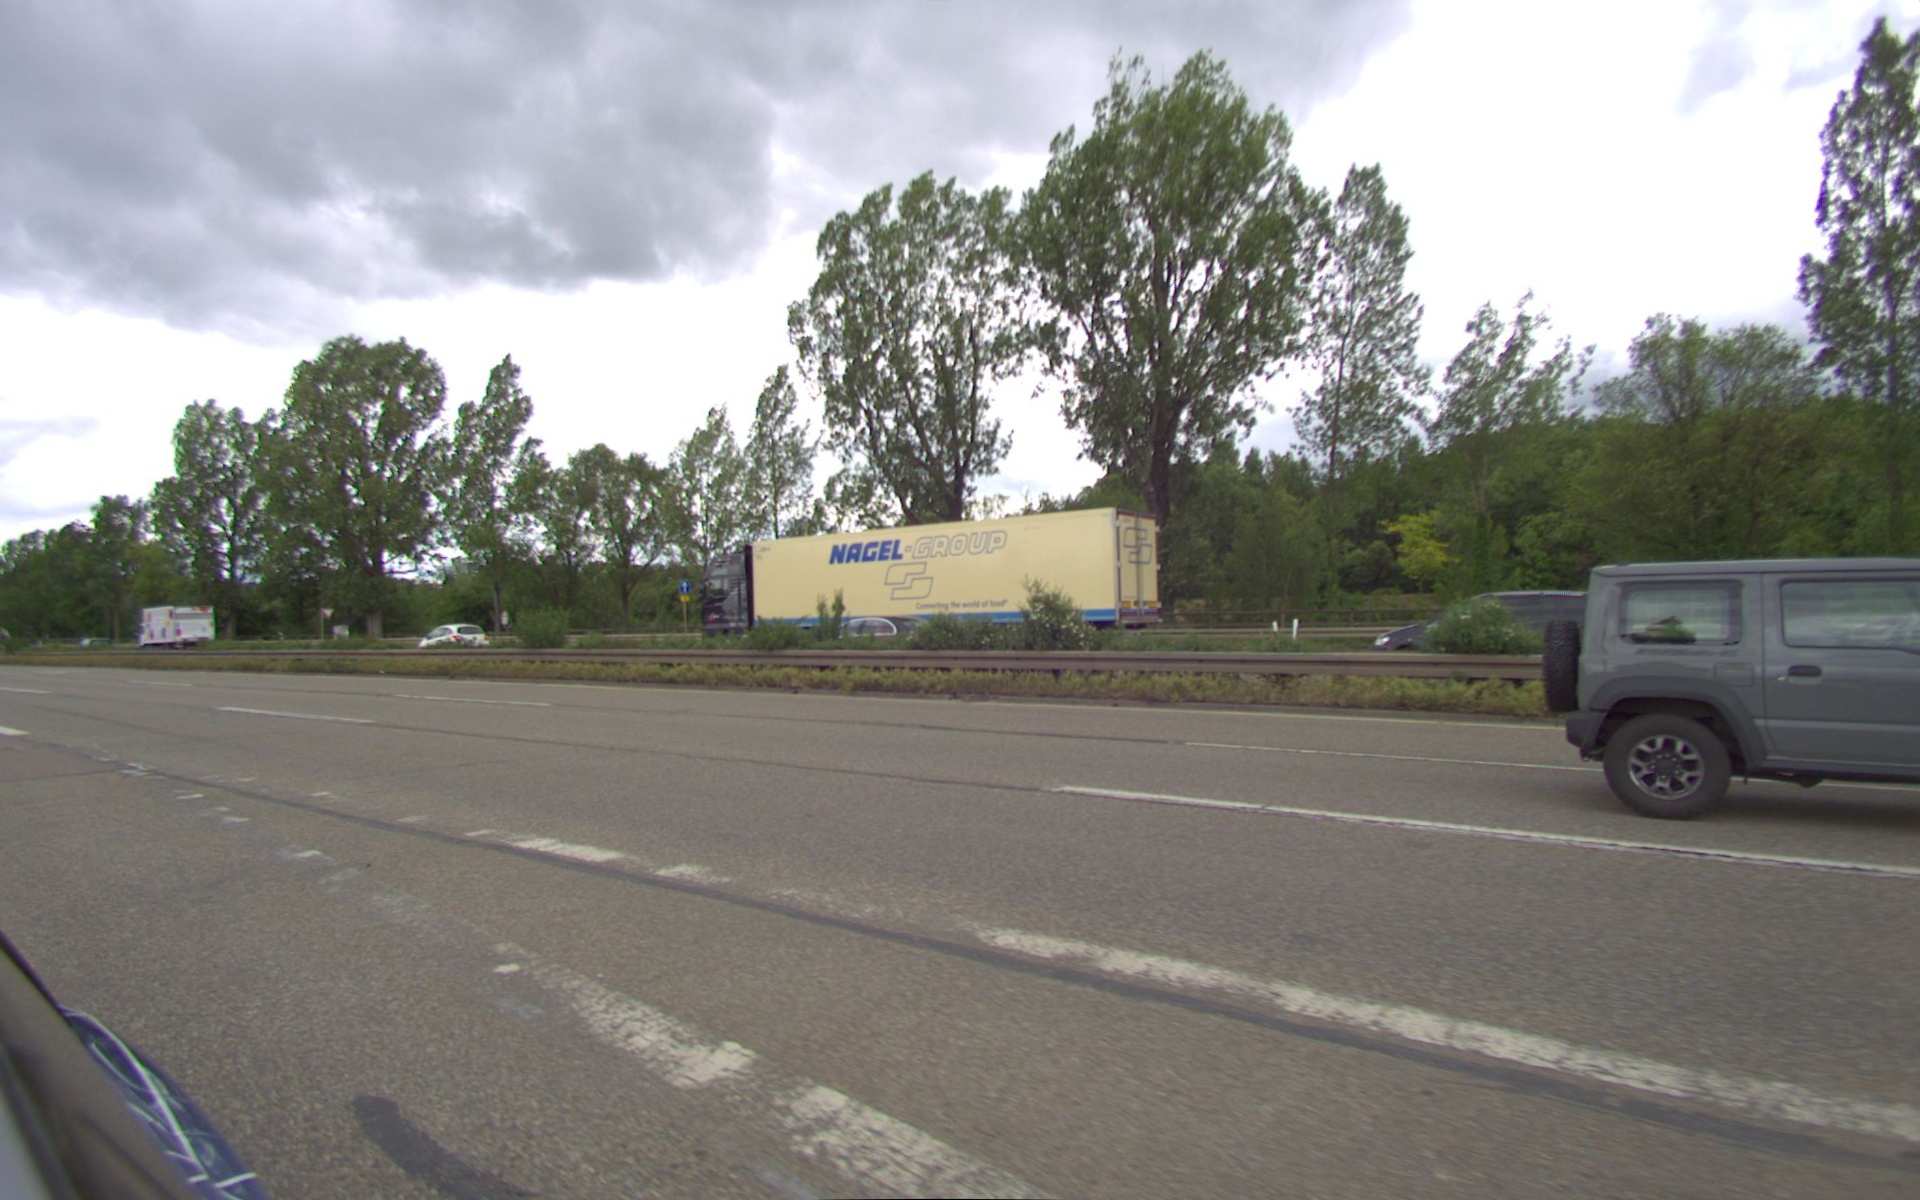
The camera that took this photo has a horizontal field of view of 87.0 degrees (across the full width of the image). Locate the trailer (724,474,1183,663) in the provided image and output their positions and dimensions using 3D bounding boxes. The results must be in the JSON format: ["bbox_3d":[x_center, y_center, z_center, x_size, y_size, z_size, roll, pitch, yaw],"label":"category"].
[{"bbox_3d":[-0.863,-0.555,31.097,14.748,4.708,3.434,-3,0,35],"label":"trailer"}]

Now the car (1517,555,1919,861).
[{"bbox_3d":[5.963,0.622,6.492,3.989,1.749,1.666,-3,-2,35],"label":"car"}]

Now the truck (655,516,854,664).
[{"bbox_3d":[-7.299,-0.249,35.683,6.197,4.708,3.434,-3,0,35],"label":"truck"}]

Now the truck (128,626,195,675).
[{"bbox_3d":[-63.994,4.052,81.108,3.988,3.670,2.962,-3,1,33],"label":"truck"}]

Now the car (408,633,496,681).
[{"bbox_3d":[-20.848,2.333,41.486,3.565,1.821,1.763,-3,-2,36],"label":"car"}]

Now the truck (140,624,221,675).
[{"bbox_3d":[-60.934,3.881,79.115,6.318,3.670,2.960,-3,1,33],"label":"truck"}]

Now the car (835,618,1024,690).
[{"bbox_3d":[-0.751,1.235,23.169,3.995,1.465,1.974,-3,-2,39],"label":"car"}]

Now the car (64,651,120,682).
[{"bbox_3d":[-62.493,4.794,72.829,3.988,2.028,1.978,-3,1,33],"label":"car"}]

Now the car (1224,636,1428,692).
[{"bbox_3d":[7.513,1.325,20.896,3.609,0.939,1.636,-6,-5,37],"label":"car"}]
